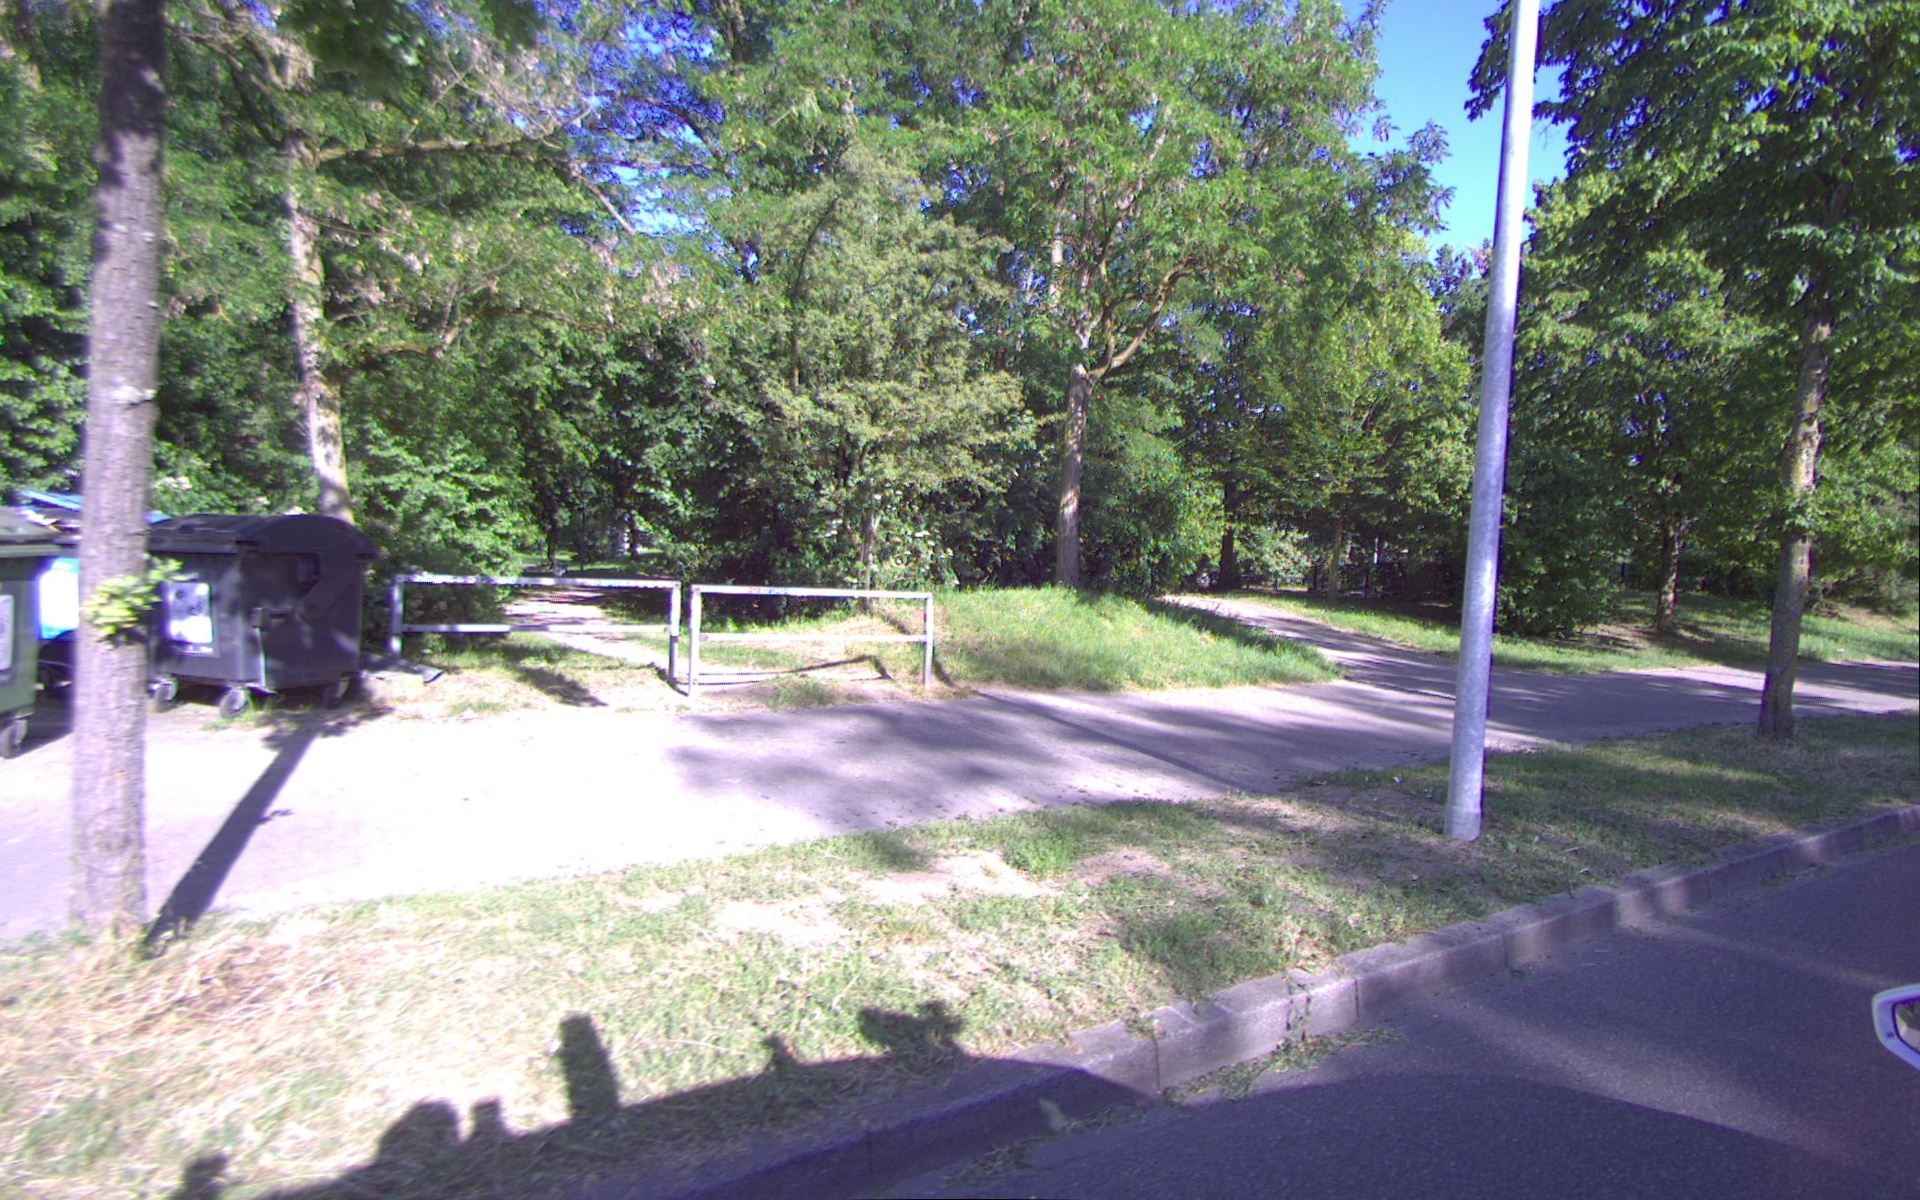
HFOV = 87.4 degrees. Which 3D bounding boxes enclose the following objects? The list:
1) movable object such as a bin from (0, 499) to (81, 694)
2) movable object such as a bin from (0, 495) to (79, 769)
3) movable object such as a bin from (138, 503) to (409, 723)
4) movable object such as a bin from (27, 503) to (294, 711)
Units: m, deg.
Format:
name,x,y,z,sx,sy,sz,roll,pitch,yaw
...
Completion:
name,x,y,z,sx,sy,sz,roll,pitch,yaw
movable object such as a bin,-7.779,-0.048,7.602,1.240,1.455,1.160,2,2,-7
movable object such as a bin,-5.657,0.157,5.220,1.162,1.455,1.269,1,2,-15
movable object such as a bin,-5.071,0.059,7.482,1.123,1.455,1.272,3,2,25
movable object such as a bin,-6.202,0.026,7.846,1.123,1.455,1.272,3,2,25
